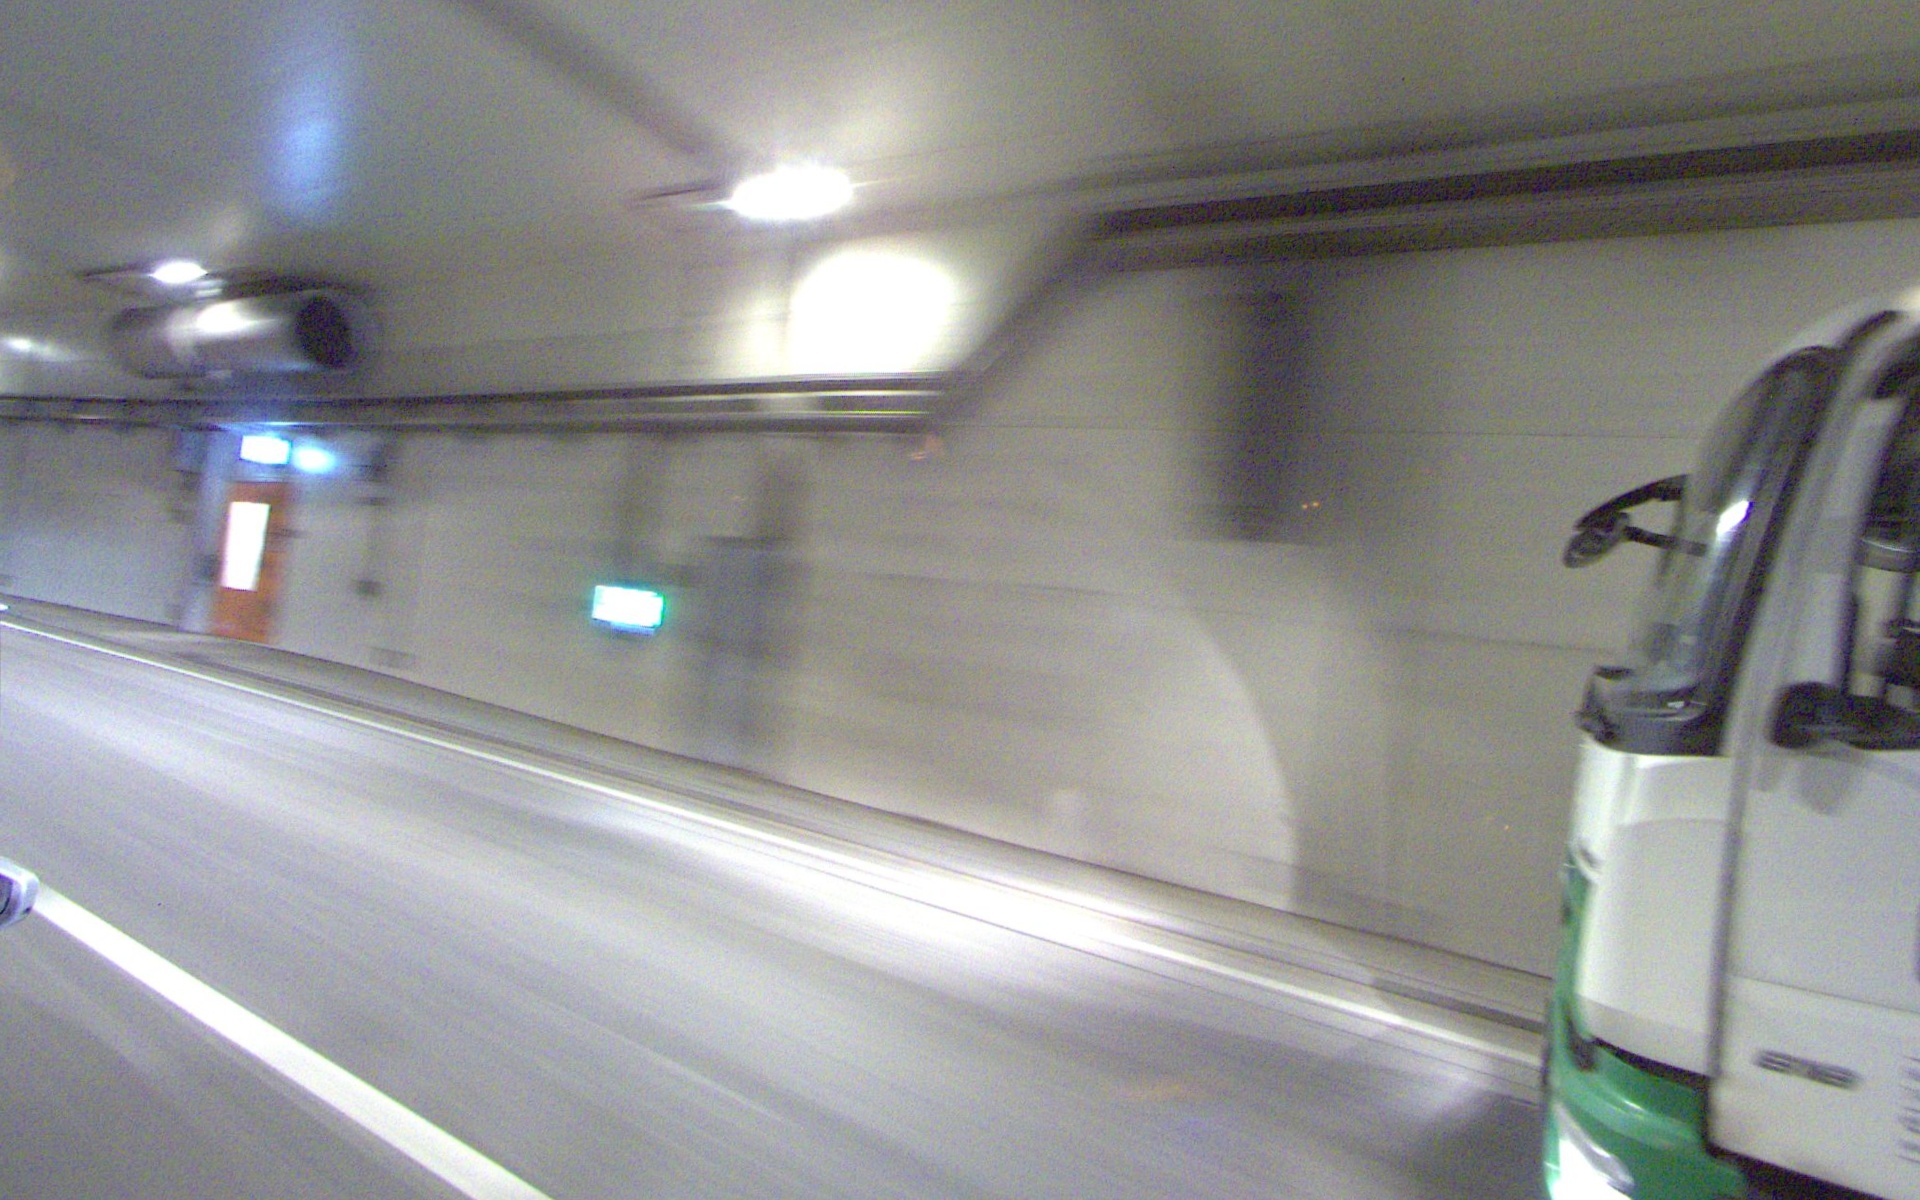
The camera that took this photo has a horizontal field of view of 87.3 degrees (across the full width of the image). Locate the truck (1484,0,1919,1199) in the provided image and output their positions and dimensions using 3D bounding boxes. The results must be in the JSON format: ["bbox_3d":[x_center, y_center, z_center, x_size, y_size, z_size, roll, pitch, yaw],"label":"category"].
[{"bbox_3d":[4.778,0.535,1.122,7.125,3.217,2.559,7,-2,31],"label":"truck"}]
